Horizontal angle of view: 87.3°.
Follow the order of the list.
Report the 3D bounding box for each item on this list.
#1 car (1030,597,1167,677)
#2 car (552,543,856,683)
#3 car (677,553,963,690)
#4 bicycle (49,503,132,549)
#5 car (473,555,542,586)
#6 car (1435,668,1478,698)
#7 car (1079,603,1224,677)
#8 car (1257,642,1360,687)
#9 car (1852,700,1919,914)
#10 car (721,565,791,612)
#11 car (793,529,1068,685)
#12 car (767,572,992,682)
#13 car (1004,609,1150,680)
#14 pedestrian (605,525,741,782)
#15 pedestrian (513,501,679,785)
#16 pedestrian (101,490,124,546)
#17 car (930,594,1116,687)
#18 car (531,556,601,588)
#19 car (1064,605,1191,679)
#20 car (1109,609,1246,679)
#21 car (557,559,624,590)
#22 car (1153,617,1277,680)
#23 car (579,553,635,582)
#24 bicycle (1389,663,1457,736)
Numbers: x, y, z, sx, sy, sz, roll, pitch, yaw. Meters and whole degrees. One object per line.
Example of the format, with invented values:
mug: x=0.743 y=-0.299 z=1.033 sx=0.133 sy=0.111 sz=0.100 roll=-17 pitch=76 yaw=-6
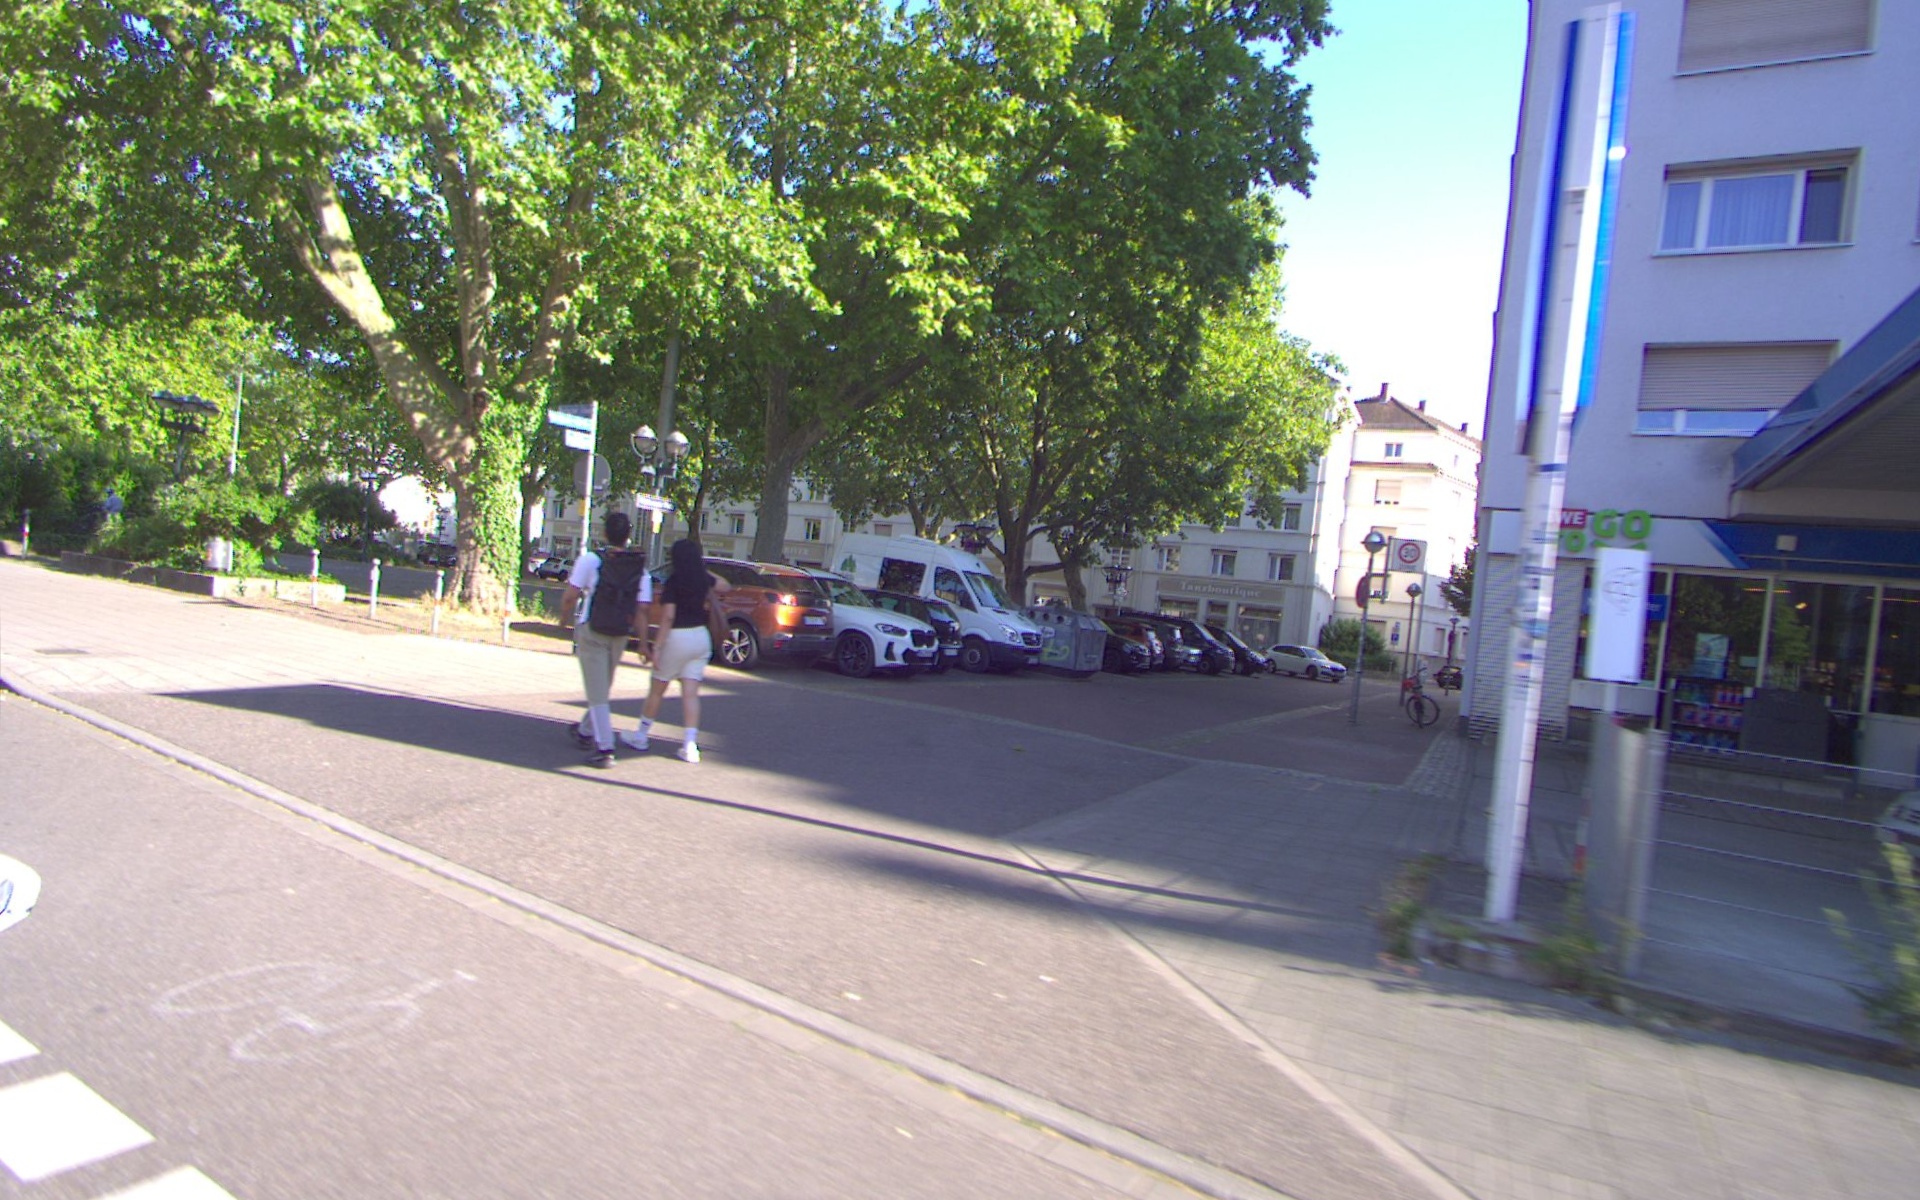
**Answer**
car: x=4.476 y=1.167 z=32.353 sx=3.924 sy=2.039 sz=2.000 roll=6 pitch=0 yaw=17
car: x=-4.197 y=0.182 z=16.359 sx=4.579 sy=1.622 sz=1.821 roll=8 pitch=1 yaw=26
car: x=-2.539 y=0.339 z=17.877 sx=4.716 sy=1.757 sz=1.863 roll=8 pitch=1 yaw=29
bicycle: x=-29.997 y=-2.533 z=34.768 sx=0.446 sy=1.254 sz=2.330 roll=7 pitch=-2 yaw=8
car: x=-31.248 y=-2.022 z=69.591 sx=1.965 sy=1.705 sz=3.896 roll=6 pitch=0 yaw=28
car: x=30.670 y=5.148 z=62.095 sx=1.701 sy=1.485 sz=3.690 roll=6 pitch=-3 yaw=35
car: x=7.073 y=1.468 z=37.220 sx=4.669 sy=2.039 sz=1.996 roll=8 pitch=1 yaw=29
car: x=16.381 y=3.014 z=47.466 sx=1.976 sy=1.394 sz=4.294 roll=7 pitch=1 yaw=-27
car: x=8.820 y=1.688 z=6.622 sx=4.028 sy=1.448 sz=1.570 roll=6 pitch=0 yaw=28
car: x=-14.825 y=-0.808 z=73.377 sx=2.022 sy=2.656 sz=5.083 roll=7 pitch=-2 yaw=26
car: x=-0.729 y=0.114 z=23.005 sx=5.698 sy=2.868 sz=2.244 roll=6 pitch=1 yaw=29
car: x=-1.606 y=0.520 z=19.896 sx=3.931 sy=1.590 sz=1.863 roll=8 pitch=1 yaw=29
car: x=3.510 y=1.297 z=30.046 sx=3.925 sy=1.614 sz=1.742 roll=6 pitch=0 yaw=18
pedestrian: x=-2.153 y=0.376 z=7.550 sx=0.679 sy=1.801 sz=0.602 roll=7 pitch=4 yaw=33
pedestrian: x=-2.515 y=0.262 z=6.939 sx=0.864 sy=1.801 sz=0.602 roll=7 pitch=4 yaw=33
pedestrian: x=-29.357 y=-2.826 z=34.842 sx=0.335 sy=1.887 sz=0.391 roll=6 pitch=-1 yaw=43
car: x=1.541 y=0.975 z=24.542 sx=3.930 sy=1.760 sz=1.998 roll=6 pitch=0 yaw=27
car: x=-26.425 y=-1.852 z=67.616 sx=1.829 sy=1.638 sz=4.295 roll=6 pitch=0 yaw=20
car: x=5.801 y=1.435 z=34.649 sx=3.924 sy=2.039 sz=2.000 roll=6 pitch=0 yaw=17
car: x=8.473 y=1.703 z=39.347 sx=4.669 sy=2.039 sz=1.996 roll=8 pitch=1 yaw=29
car: x=-24.380 y=-1.644 z=66.501 sx=1.829 sy=1.638 sz=3.998 roll=6 pitch=0 yaw=21
car: x=11.062 y=2.079 z=43.682 sx=4.669 sy=2.039 sz=1.996 roll=8 pitch=1 yaw=29
car: x=-28.201 y=-2.543 z=80.412 sx=1.786 sy=1.678 sz=4.001 roll=7 pitch=-3 yaw=25
bicycle: x=9.060 y=1.916 z=19.768 sx=0.821 sy=1.224 sz=2.132 roll=6 pitch=0 yaw=18
